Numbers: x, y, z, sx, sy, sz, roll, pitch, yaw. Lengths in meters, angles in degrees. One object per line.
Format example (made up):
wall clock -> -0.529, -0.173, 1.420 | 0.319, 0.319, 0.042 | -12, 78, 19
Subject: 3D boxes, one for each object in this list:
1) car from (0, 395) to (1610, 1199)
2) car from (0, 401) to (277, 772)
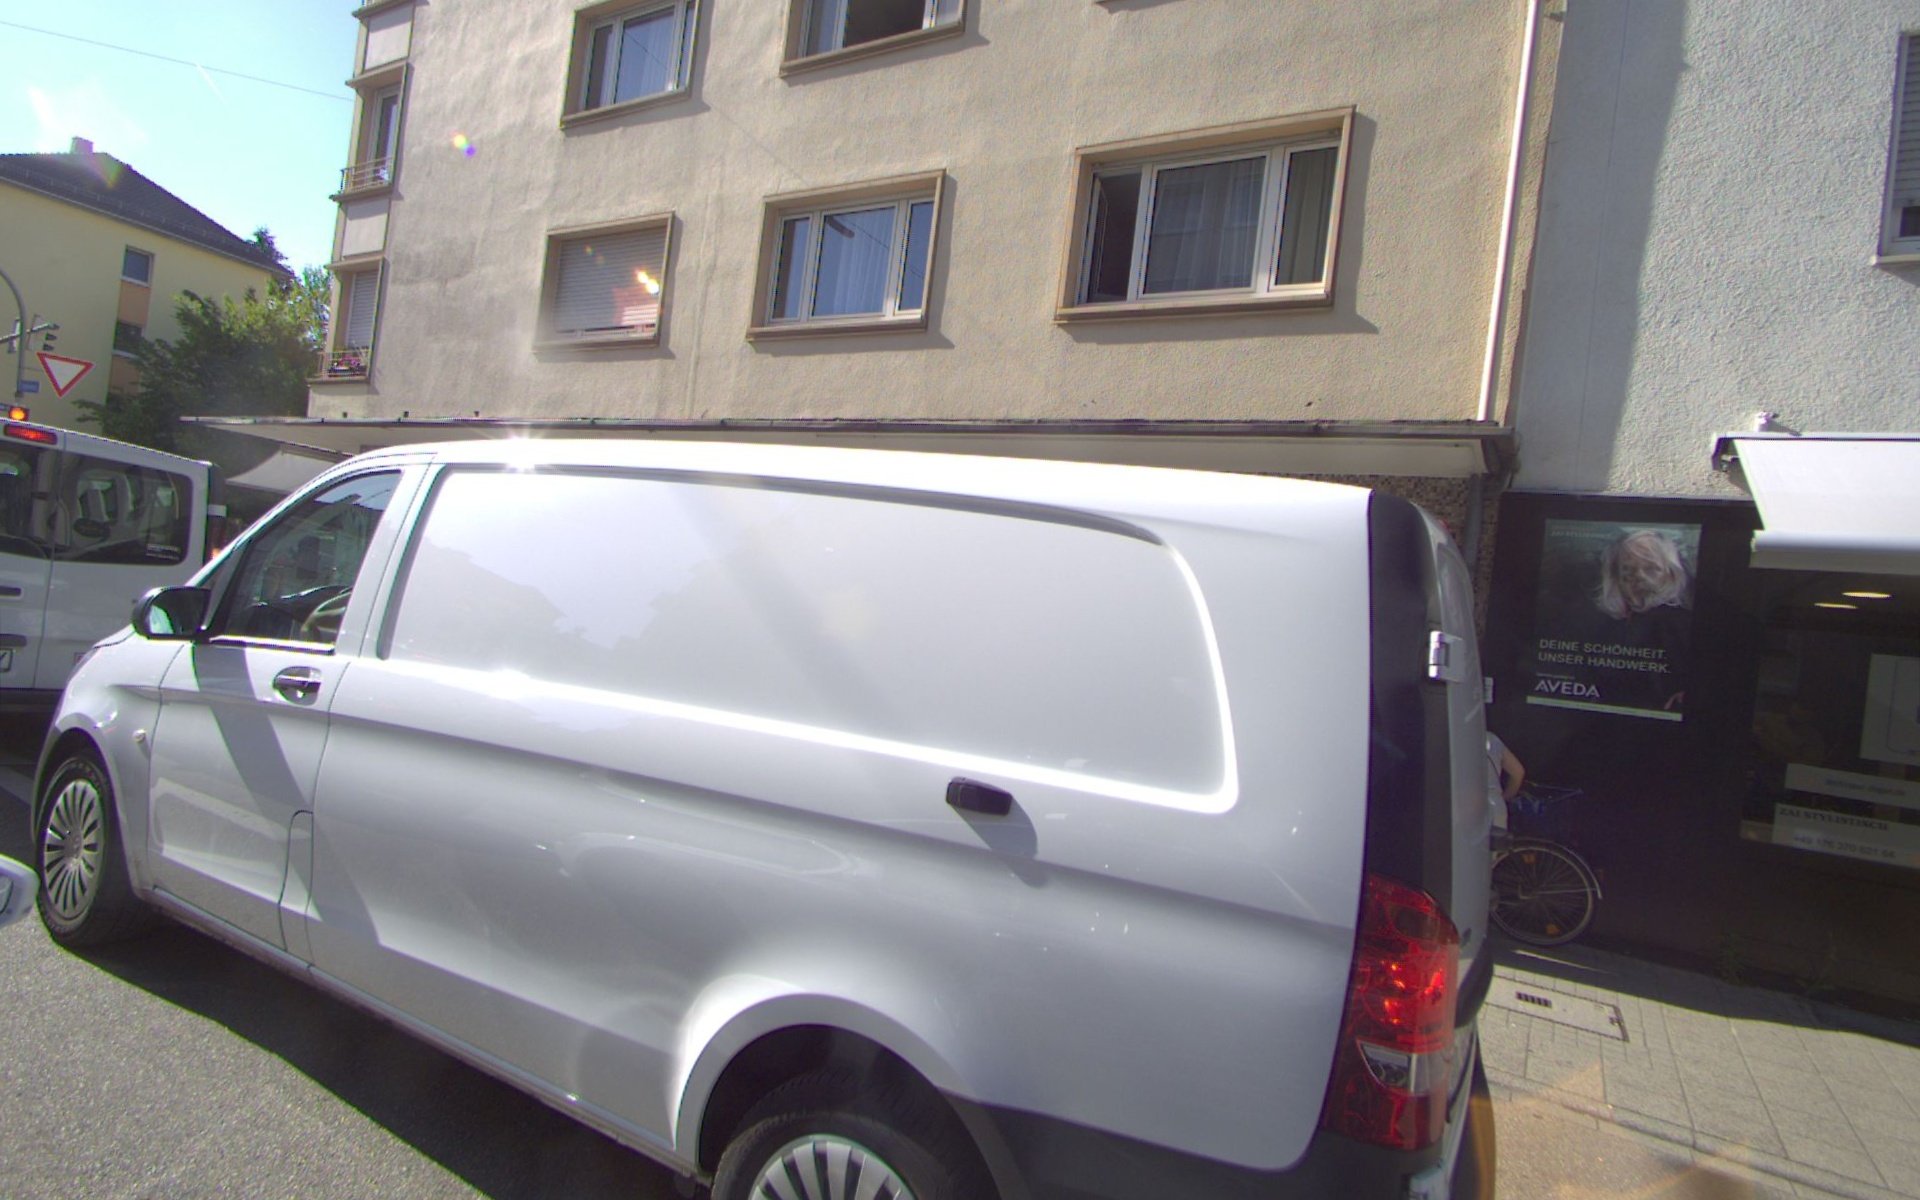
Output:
car -> -0.968, 0.513, 3.293 | 4.911, 1.891, 1.840 | 7, -1, 30
car -> -7.112, -0.265, 6.937 | 4.814, 2.001, 1.998 | 7, -2, 32
